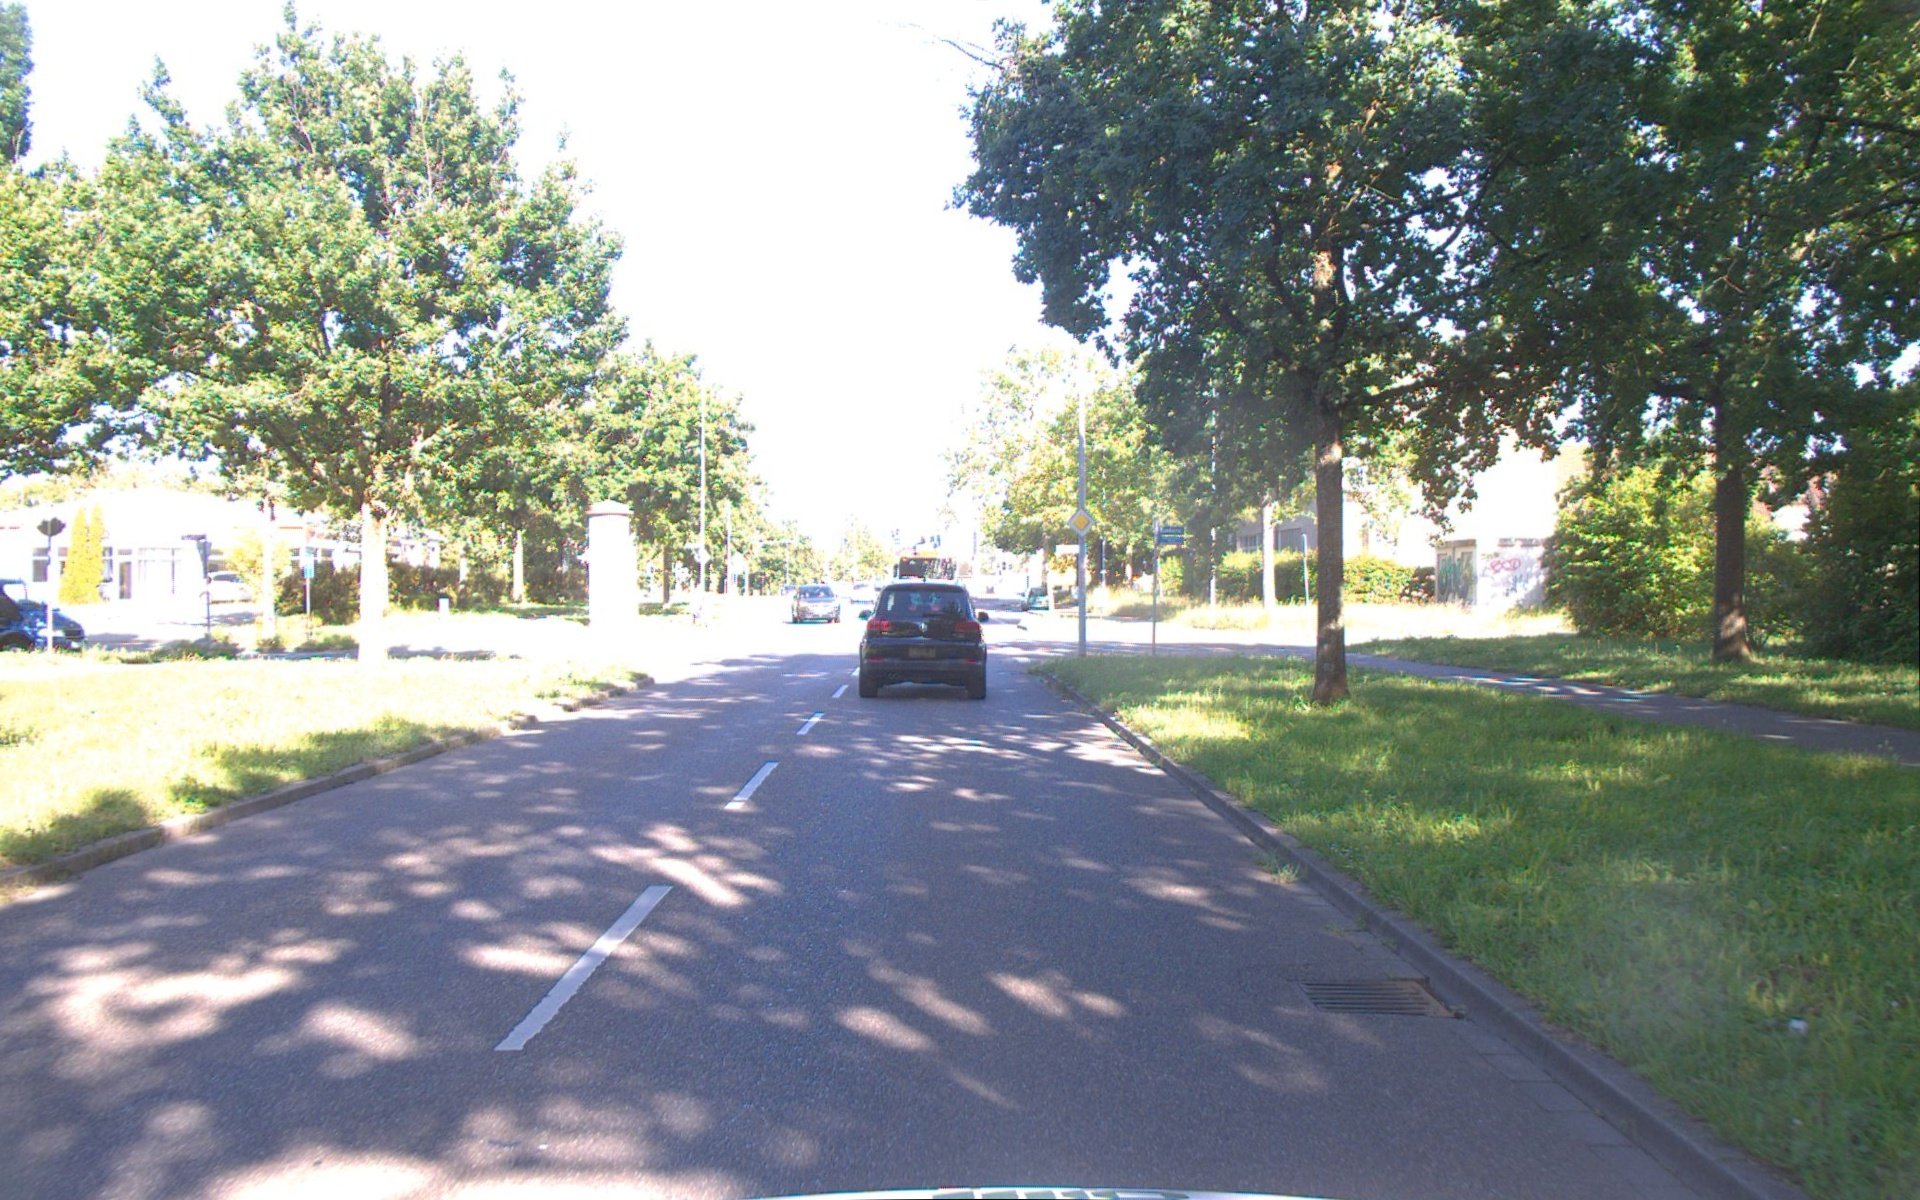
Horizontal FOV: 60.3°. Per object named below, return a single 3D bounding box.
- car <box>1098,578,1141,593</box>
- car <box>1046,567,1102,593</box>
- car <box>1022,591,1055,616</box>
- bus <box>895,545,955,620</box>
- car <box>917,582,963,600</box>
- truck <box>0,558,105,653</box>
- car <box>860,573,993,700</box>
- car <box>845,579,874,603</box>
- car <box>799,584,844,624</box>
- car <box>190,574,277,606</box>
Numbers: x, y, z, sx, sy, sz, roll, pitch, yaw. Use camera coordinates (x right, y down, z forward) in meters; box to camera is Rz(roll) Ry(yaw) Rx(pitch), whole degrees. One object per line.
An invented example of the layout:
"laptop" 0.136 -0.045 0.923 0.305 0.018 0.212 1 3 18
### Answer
"car" 15.342 -1.400 159.382 3.823 1.363 1.678 1 0 -12
"car" 9.898 -1.732 144.181 4.612 2.160 1.939 0 0 -7
"car" 4.734 0.213 100.176 1.560 1.453 4.202 -2 0 -2
"bus" -1.836 -0.872 82.102 2.544 3.392 11.977 1 1 -3
"car" -1.579 -0.710 130.580 3.447 1.325 1.576 0 1 5
"truck" -23.347 0.076 37.126 6.978 2.085 2.137 1 0 -9
"car" -0.485 0.511 24.612 1.784 1.703 4.002 1 0 -1
"car" -7.195 -0.648 118.056 1.721 1.648 4.026 0 0 -8
"car" -5.816 0.178 69.723 1.719 1.623 4.296 1 0 -3
"car" -34.939 -0.499 79.581 3.529 1.524 1.590 0 0 -9
